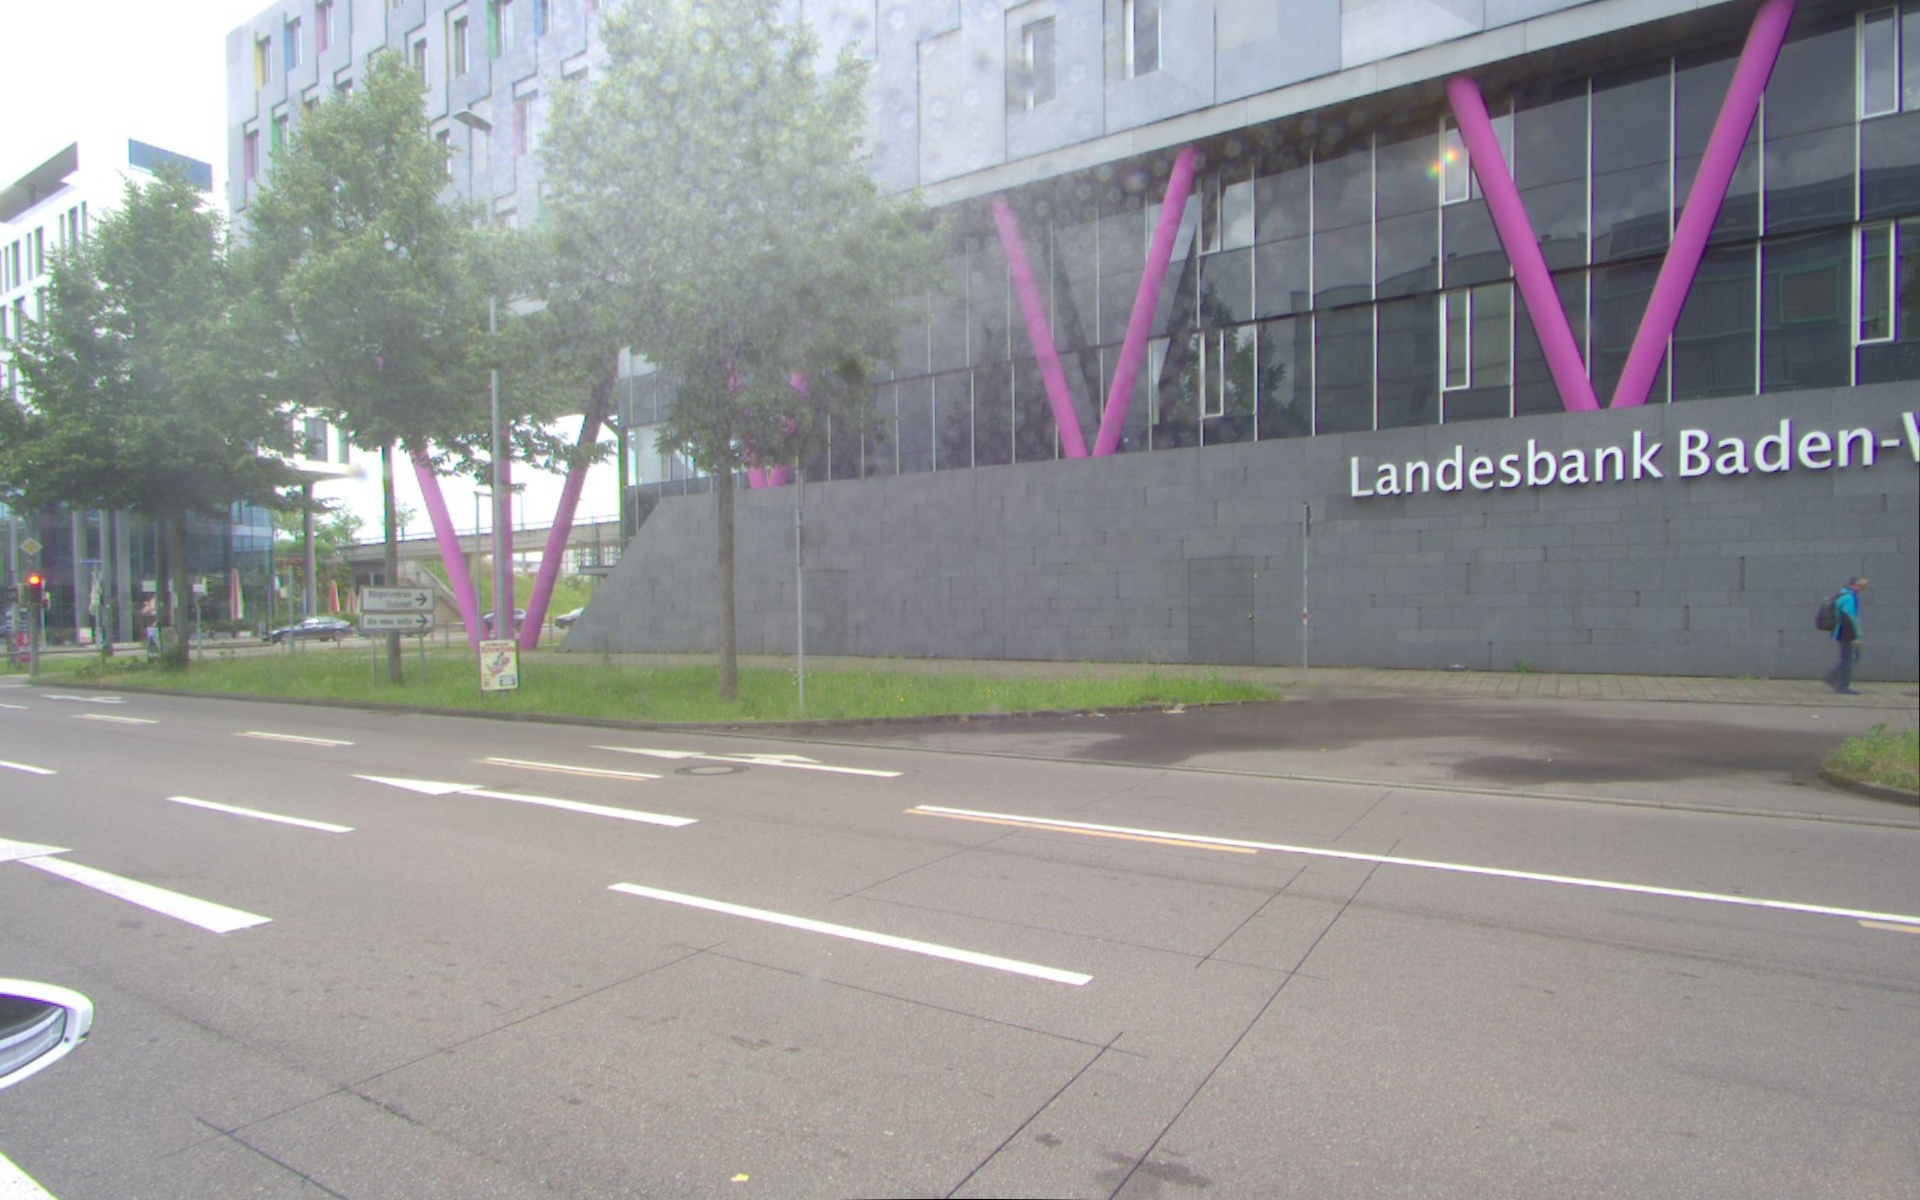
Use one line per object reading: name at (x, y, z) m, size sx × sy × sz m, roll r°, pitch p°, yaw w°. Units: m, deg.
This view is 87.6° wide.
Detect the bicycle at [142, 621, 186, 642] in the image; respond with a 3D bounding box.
bicycle at (-43.995, 1.708, 55.337) m, size 0.609 × 1.100 × 1.787 m, roll 0°, pitch 0°, yaw 34°

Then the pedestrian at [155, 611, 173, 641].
pedestrian at (-43.990, 1.440, 55.341) m, size 0.610 × 1.625 × 0.613 m, roll 0°, pitch 1°, yaw 34°

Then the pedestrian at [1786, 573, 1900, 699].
pedestrian at (13.239, 0.512, 15.067) m, size 1.121 × 1.794 × 1.049 m, roll 0°, pitch 1°, yaw 33°

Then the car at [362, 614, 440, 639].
car at (-36.223, 1.693, 64.926) m, size 1.734 × 1.474 × 4.070 m, roll 0°, pitch 0°, yaw 34°

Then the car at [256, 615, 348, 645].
car at (-39.155, 1.772, 59.653) m, size 1.734 × 1.636 × 4.240 m, roll 0°, pitch 0°, yaw 34°
